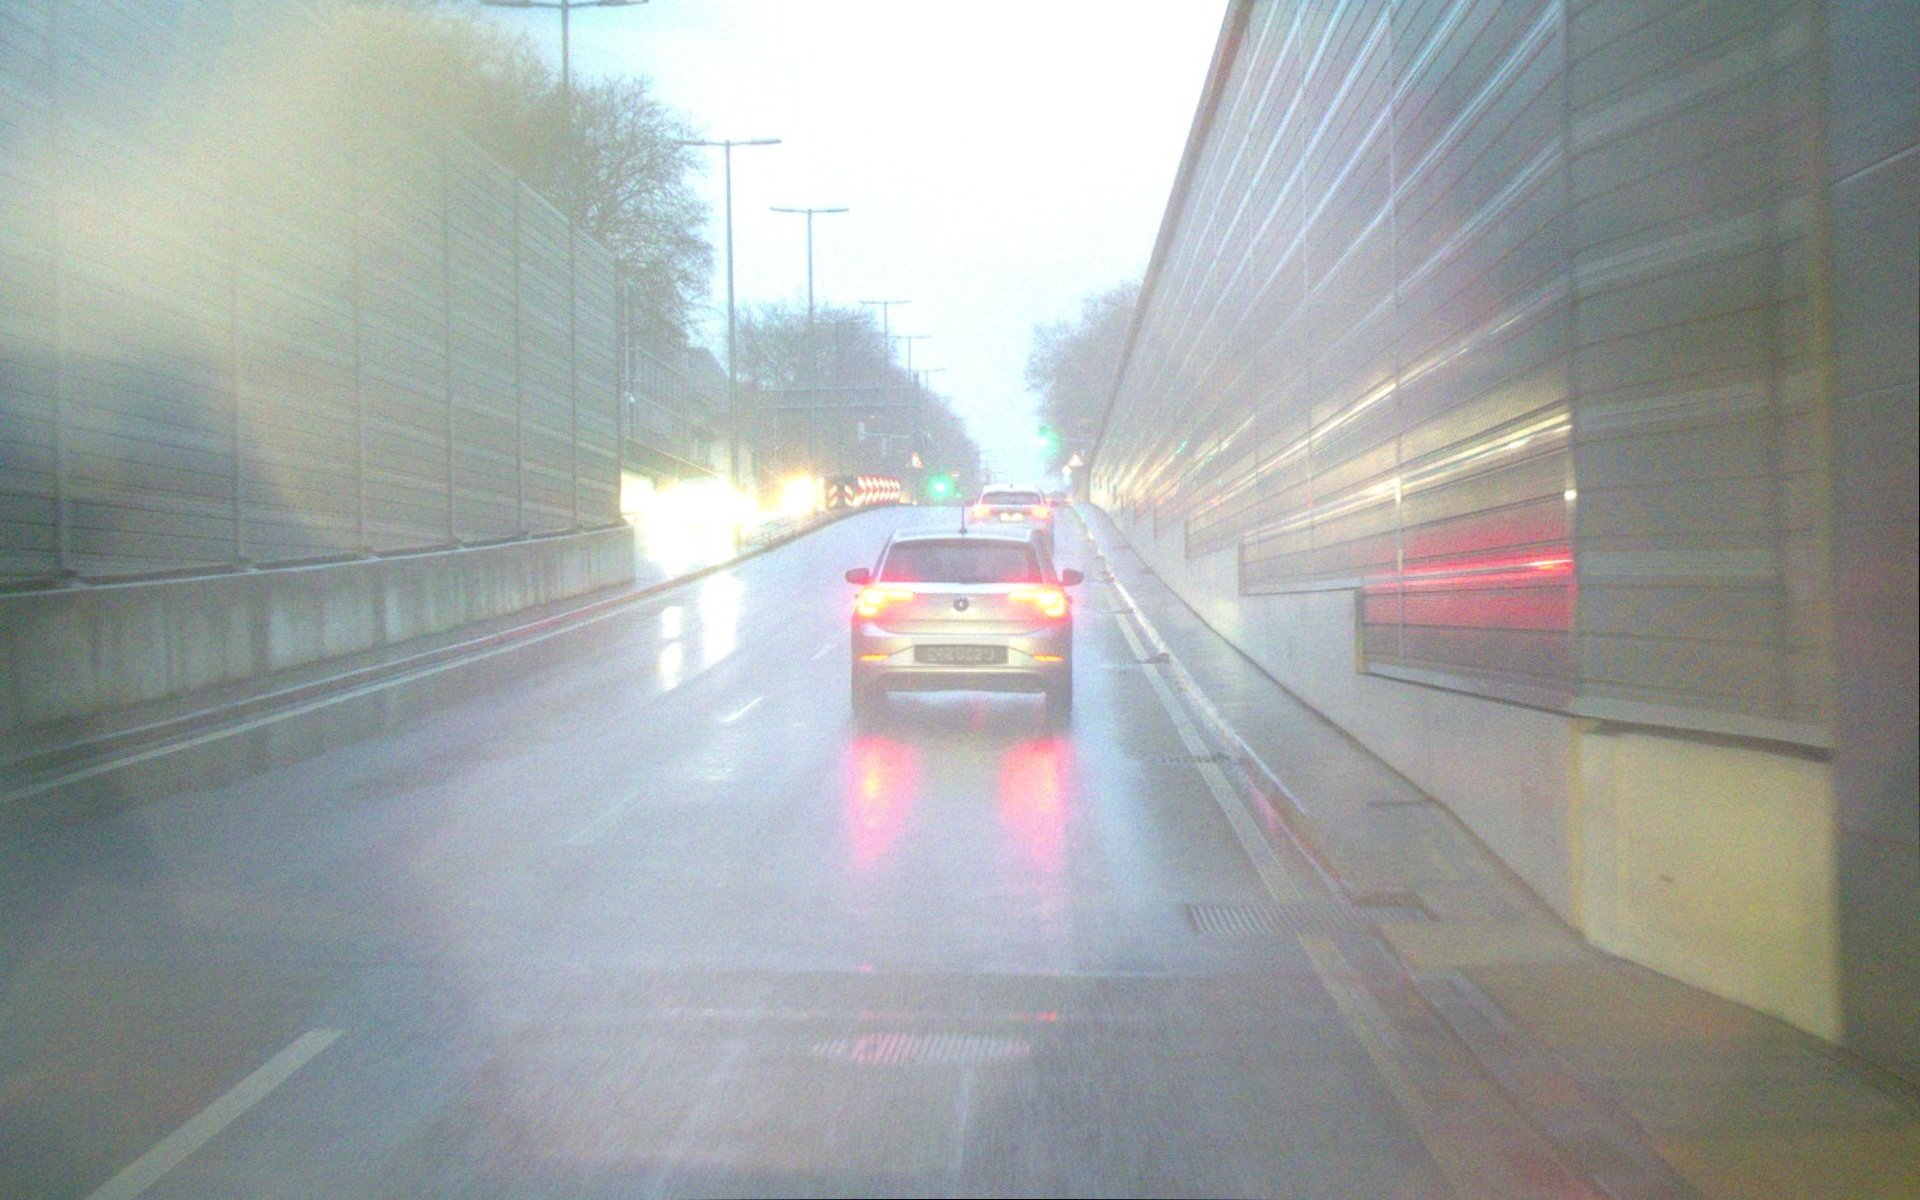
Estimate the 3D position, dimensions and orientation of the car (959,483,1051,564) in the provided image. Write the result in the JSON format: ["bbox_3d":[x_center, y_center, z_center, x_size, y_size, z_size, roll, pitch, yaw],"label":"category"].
[{"bbox_3d":[0.946,-1.633,74.450,1.880,1.615,4.000,1,0,-1],"label":"car"}]

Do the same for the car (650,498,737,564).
[{"bbox_3d":[-7.079,-1.824,91.541,1.880,1.615,4.000,1,0,2],"label":"car"}]

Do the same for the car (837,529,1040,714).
[{"bbox_3d":[-0.128,0.141,27.703,1.532,1.392,3.434,0,1,1],"label":"car"}]

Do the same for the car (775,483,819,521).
[{"bbox_3d":[-6.723,-4.049,142.194,1.571,1.465,3.687,-1,3,1],"label":"car"}]
